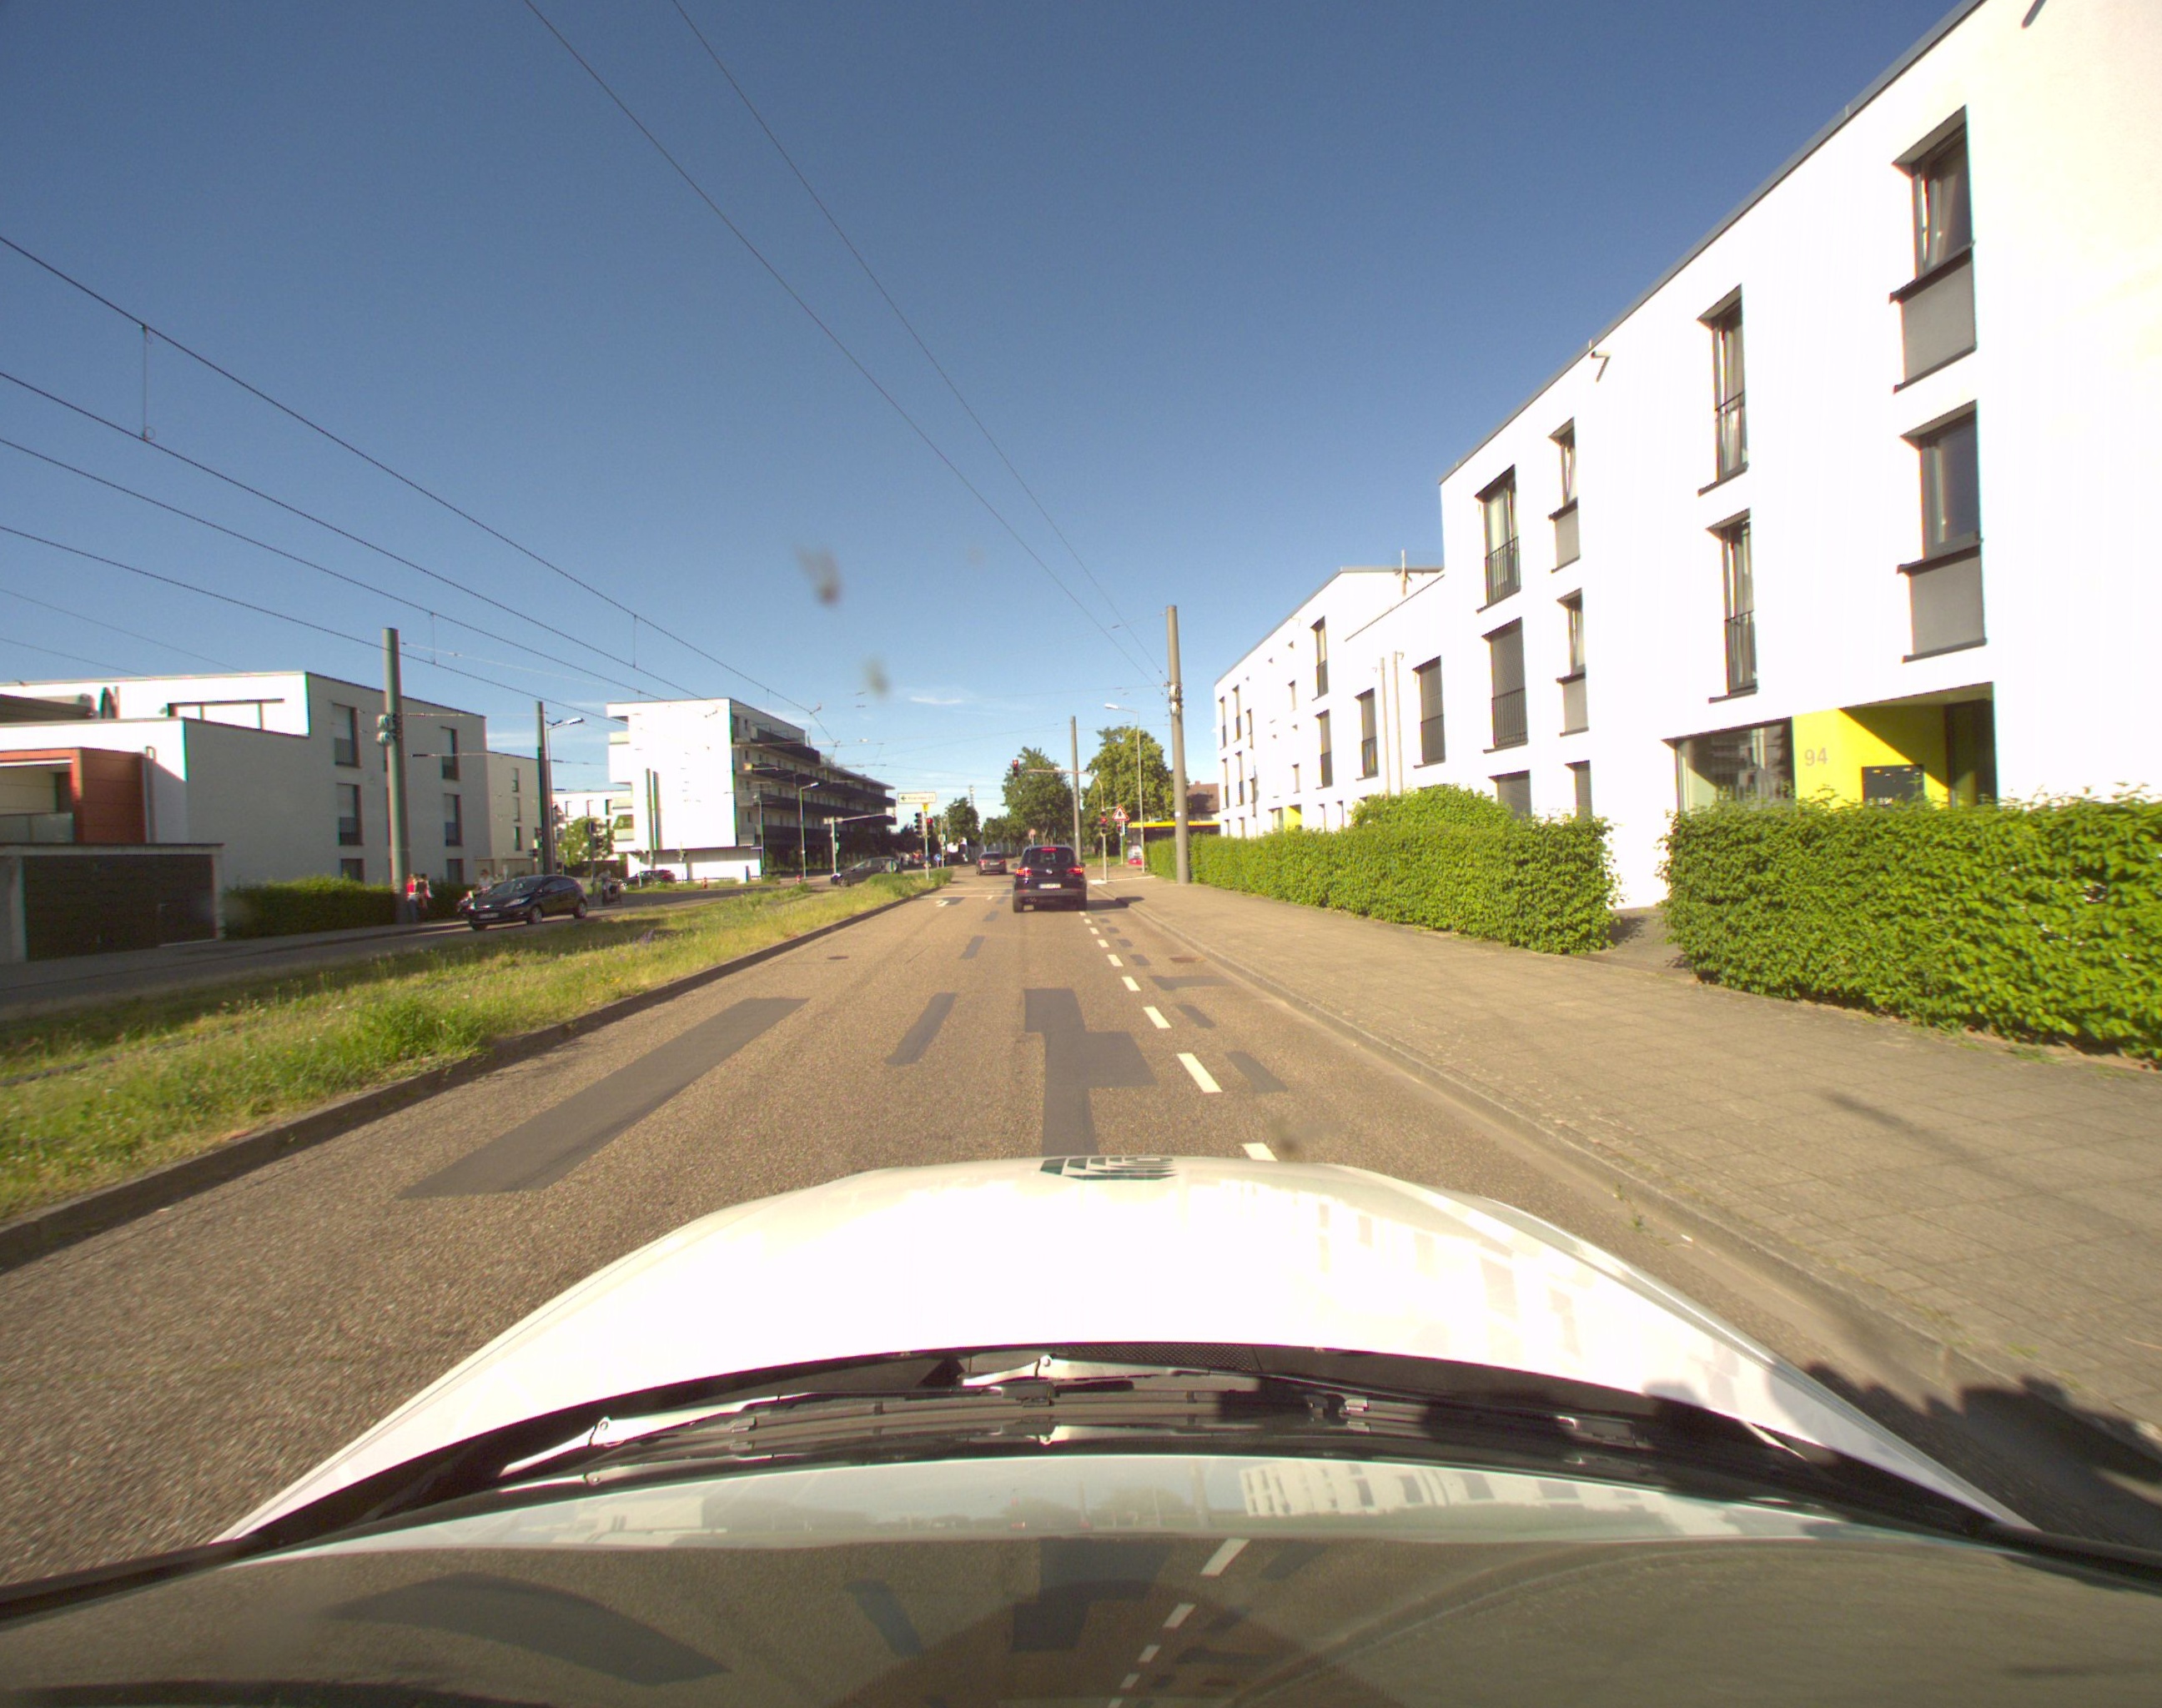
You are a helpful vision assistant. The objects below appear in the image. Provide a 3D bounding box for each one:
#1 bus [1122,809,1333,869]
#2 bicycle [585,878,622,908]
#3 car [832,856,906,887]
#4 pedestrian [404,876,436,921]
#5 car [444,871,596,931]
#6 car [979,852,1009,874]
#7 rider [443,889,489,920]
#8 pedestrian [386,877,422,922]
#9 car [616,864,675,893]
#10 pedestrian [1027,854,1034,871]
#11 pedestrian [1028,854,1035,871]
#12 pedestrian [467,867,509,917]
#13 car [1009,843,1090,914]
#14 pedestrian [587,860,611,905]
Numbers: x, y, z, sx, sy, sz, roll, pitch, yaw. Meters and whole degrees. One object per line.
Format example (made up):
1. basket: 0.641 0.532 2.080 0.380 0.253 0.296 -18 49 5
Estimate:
1. bus: 9.962 -1.008 54.200 14.699 3.671 2.826 -1 0 -23
2. bicycle: -22.093 1.785 37.714 0.795 1.221 2.688 -1 0 -16
3. car: -11.847 0.963 45.640 3.724 1.430 1.705 -4 1 -7
4. pedestrian: -22.034 1.482 27.151 0.555 1.464 0.612 -1 0 -1
5. car: -16.569 1.327 24.346 1.783 1.418 3.997 -4 0 -2
6. car: -5.555 0.547 52.342 1.747 1.387 3.994 -1 0 -4
7. rider: -21.376 1.749 28.342 0.775 1.003 1.046 -1 0 2
8. pedestrian: -22.597 1.517 27.190 0.555 1.464 0.742 -1 0 -1
9. car: -34.485 1.944 64.512 4.014 2.013 1.980 -3 0 -31
10. pedestrian: -4.788 0.785 77.311 0.601 1.640 0.529 -1 0 2
11. pedestrian: -4.742 0.782 77.857 0.601 1.640 0.529 -1 0 2
12. pedestrian: -21.355 1.347 29.352 0.812 1.748 0.910 -1 0 3
13. car: -0.866 0.573 21.262 1.902 1.643 3.994 -1 0 -4
14. pedestrian: -21.920 1.300 37.052 0.762 2.013 0.666 -1 0 -17
